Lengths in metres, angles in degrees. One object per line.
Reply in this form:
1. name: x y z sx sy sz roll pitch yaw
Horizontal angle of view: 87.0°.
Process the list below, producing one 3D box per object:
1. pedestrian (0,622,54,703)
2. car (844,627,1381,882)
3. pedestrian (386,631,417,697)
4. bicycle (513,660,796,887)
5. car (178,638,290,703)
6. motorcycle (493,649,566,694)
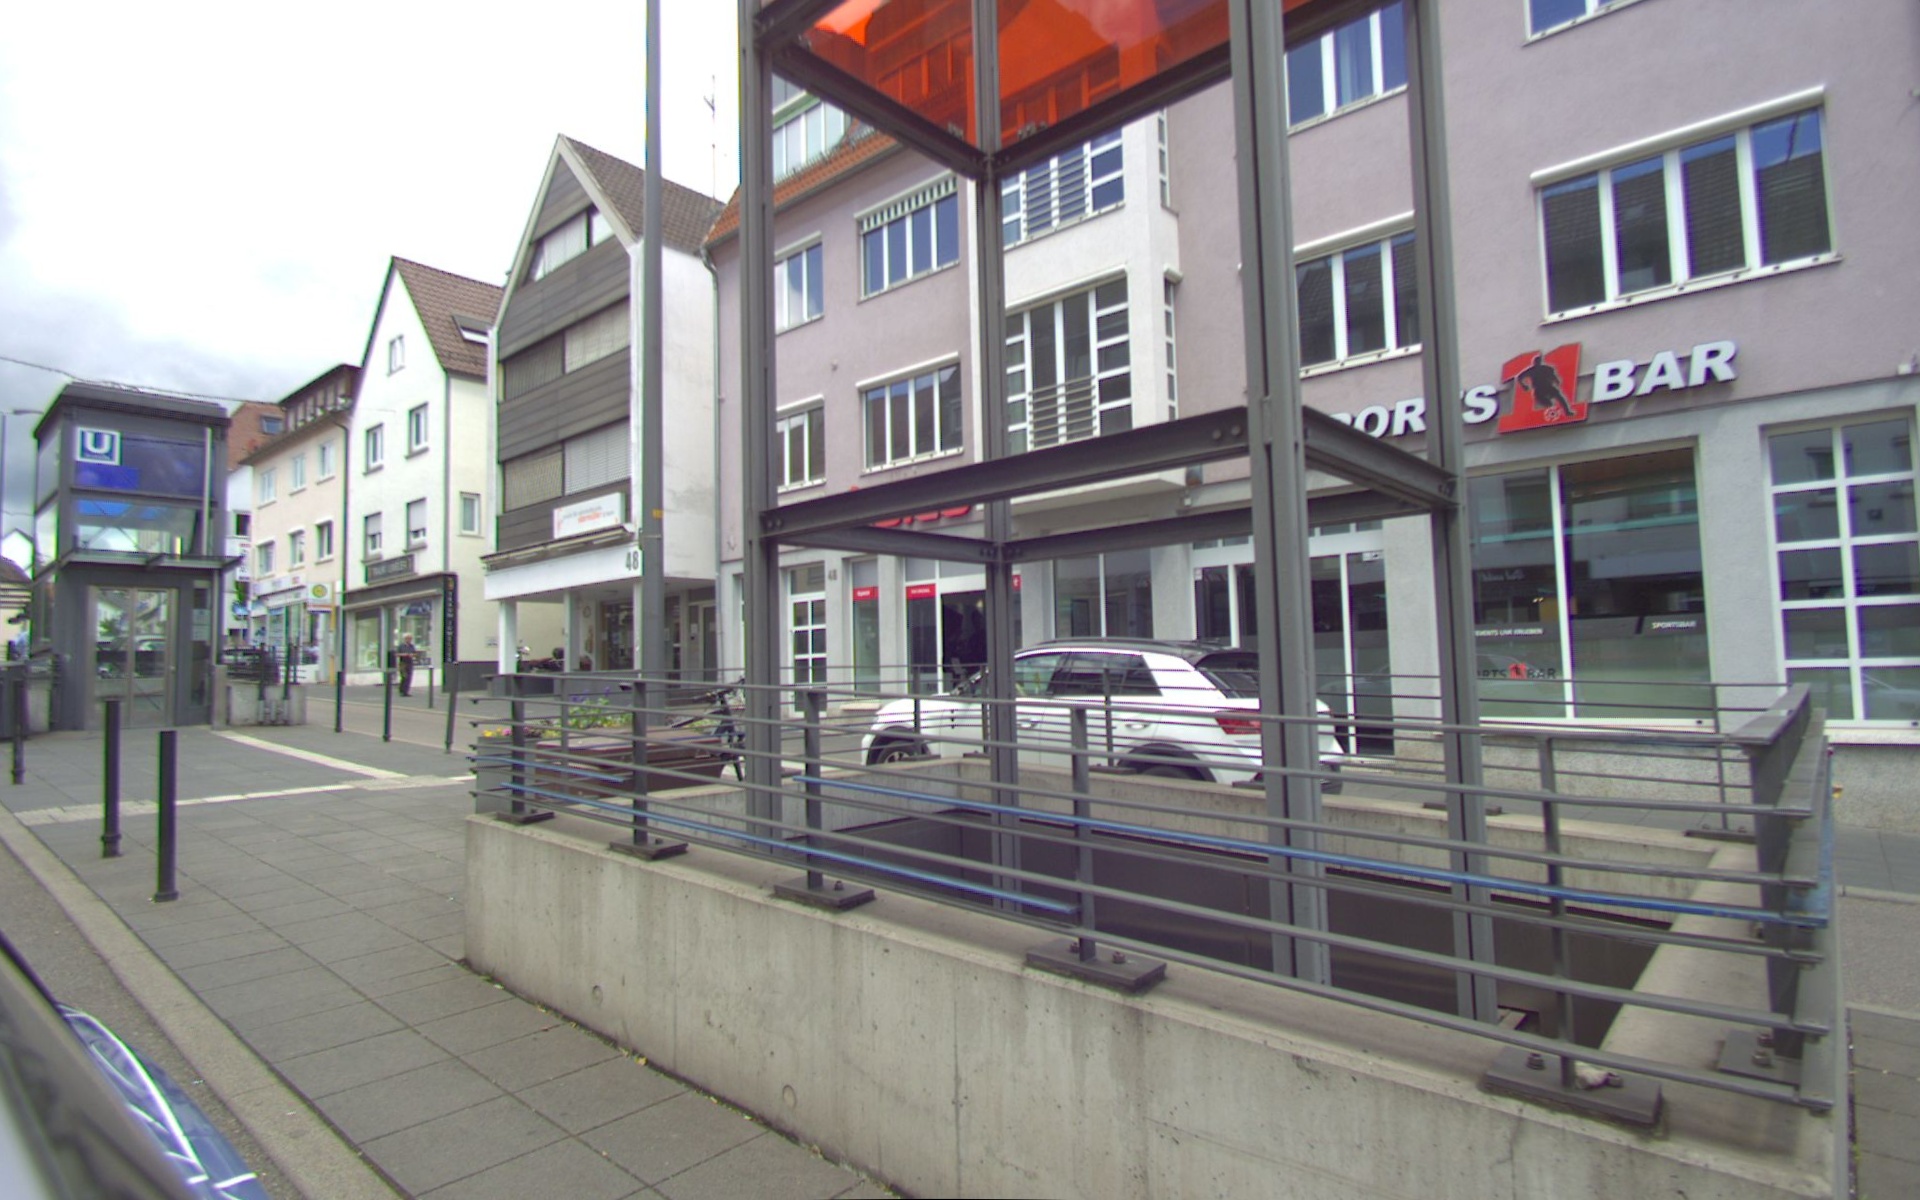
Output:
1. pedestrian: -22.489 1.473 24.224 0.931 1.856 1.083 -1 -1 41
2. car: 1.066 1.023 8.311 4.120 1.583 1.662 -1 -3 41
3. pedestrian: -15.055 1.710 27.264 0.513 1.729 0.584 -1 -1 41
4. bicycle: -1.886 1.020 6.497 0.459 1.232 1.760 -1 -3 40
5. car: -20.315 1.904 28.259 4.120 1.583 1.662 -1 -1 41
6. motorcycle: -12.242 2.020 28.798 0.634 1.149 1.830 -1 -1 40
